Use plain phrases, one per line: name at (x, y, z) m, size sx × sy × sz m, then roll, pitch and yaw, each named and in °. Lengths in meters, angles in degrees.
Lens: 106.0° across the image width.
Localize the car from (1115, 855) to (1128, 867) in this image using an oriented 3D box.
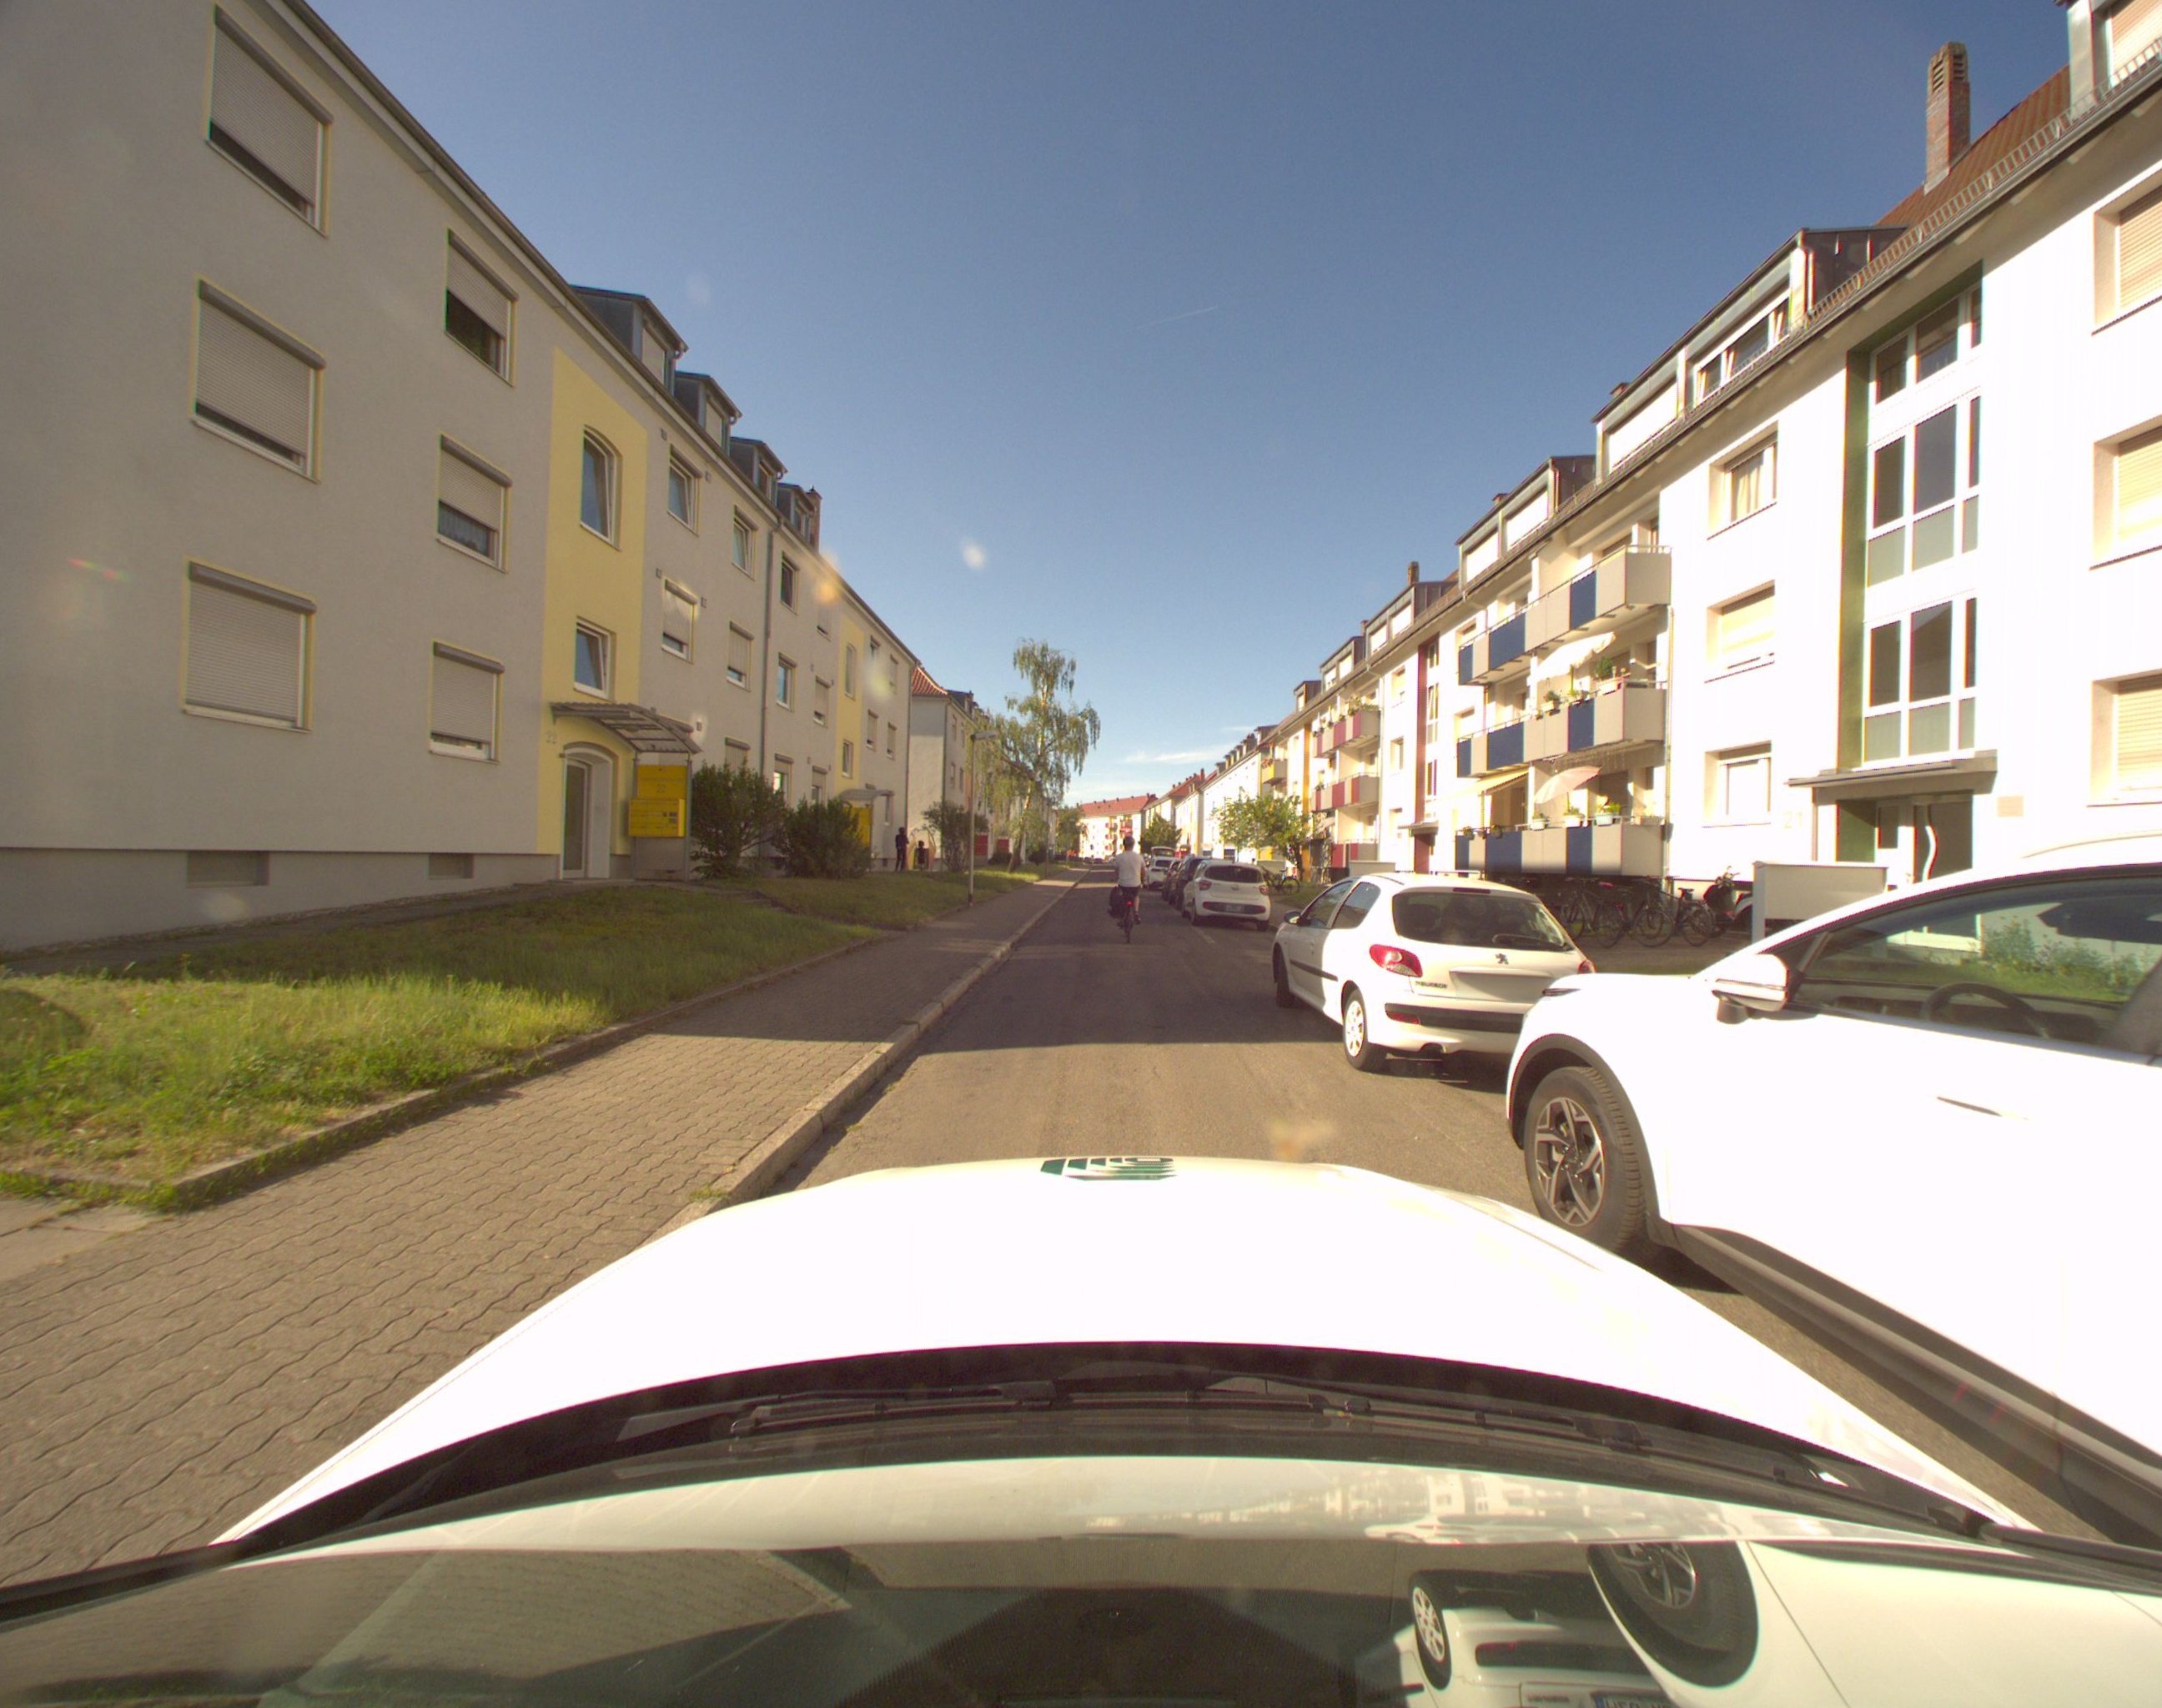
car at (6.341, 1.045, 127.479) m, size 1.669 × 1.739 × 3.942 m, roll 2°, pitch 0°, yaw 0°

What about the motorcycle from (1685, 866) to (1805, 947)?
motorcycle at (11.035, 0.826, 13.615) m, size 0.439 × 1.238 × 1.977 m, roll 0°, pitch 0°, yaw 2°

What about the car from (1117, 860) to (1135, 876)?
car at (5.107, 1.537, 93.001) m, size 1.855 × 1.668 × 4.128 m, roll 3°, pitch 0°, yaw 2°

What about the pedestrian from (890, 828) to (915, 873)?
pedestrian at (-7.292, -0.152, 33.285) m, size 0.802 × 1.824 × 0.718 m, roll 1°, pitch -1°, yaw 2°

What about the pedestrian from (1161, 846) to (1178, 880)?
pedestrian at (4.502, 0.456, 41.528) m, size 0.816 × 1.687 × 0.604 m, roll 0°, pitch 0°, yaw 1°

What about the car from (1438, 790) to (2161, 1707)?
car at (2.746, 0.728, 1.942) m, size 1.794 × 1.592 × 4.582 m, roll 3°, pitch 0°, yaw 1°

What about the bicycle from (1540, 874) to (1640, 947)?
bicycle at (8.610, 0.922, 13.861) m, size 0.542 × 1.120 × 1.873 m, roll 0°, pitch 0°, yaw 1°

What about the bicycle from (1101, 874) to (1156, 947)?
bicycle at (0.788, 0.940, 14.205) m, size 0.806 × 1.128 × 2.101 m, roll 0°, pitch 0°, yaw -1°

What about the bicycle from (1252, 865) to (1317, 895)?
bicycle at (7.915, 0.992, 31.766) m, size 2.411 × 1.130 × 0.881 m, roll 0°, pitch 0°, yaw 7°

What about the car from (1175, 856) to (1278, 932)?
car at (3.343, 0.869, 19.383) m, size 1.707 × 1.509 × 3.854 m, roll 4°, pitch 0°, yaw 1°

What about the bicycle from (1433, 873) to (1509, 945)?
bicycle at (6.977, 0.945, 14.666) m, size 0.542 × 1.170 × 1.874 m, roll -1°, pitch 0°, yaw 3°

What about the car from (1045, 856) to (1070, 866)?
car at (-4.058, 1.181, 141.638) m, size 4.221 × 1.638 × 1.581 m, roll 1°, pitch 0°, yaw -3°

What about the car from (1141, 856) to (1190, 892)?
car at (3.823, 0.881, 37.519) m, size 1.766 × 1.505 × 4.479 m, roll 2°, pitch 0°, yaw 0°

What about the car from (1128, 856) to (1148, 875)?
car at (4.774, 0.977, 68.510) m, size 1.635 × 1.498 × 4.159 m, roll 1°, pitch 0°, yaw 3°

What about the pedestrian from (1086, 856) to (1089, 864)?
pedestrian at (1.240, 1.079, 156.389) m, size 0.432 × 1.574 × 0.543 m, roll 0°, pitch -1°, yaw 1°

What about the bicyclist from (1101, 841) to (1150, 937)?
bicyclist at (0.780, 0.604, 14.445) m, size 0.806 × 1.643 × 0.898 m, roll 0°, pitch 0°, yaw -1°

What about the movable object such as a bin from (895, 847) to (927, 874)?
movable object such as a bin at (-9.066, 0.345, 43.510) m, size 1.383 × 1.336 × 1.228 m, roll 3°, pitch 0°, yaw 1°

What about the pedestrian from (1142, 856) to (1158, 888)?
pedestrian at (3.491, 0.898, 41.286) m, size 0.737 × 1.575 × 0.880 m, roll 1°, pitch 0°, yaw 1°

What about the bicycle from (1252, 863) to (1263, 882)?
bicycle at (10.573, 1.096, 48.839) m, size 0.401 × 1.087 × 1.300 m, roll 0°, pitch 0°, yaw 2°

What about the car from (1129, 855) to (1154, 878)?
car at (4.690, 0.911, 63.412) m, size 1.776 × 1.648 × 4.471 m, roll 3°, pitch 0°, yaw 3°

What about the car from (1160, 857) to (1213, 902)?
car at (3.784, 0.885, 29.736) m, size 1.639 × 1.449 × 4.065 m, roll 3°, pitch 0°, yaw 4°

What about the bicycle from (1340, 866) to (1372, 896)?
bicycle at (10.551, 1.017, 31.286) m, size 0.518 × 1.049 × 2.289 m, roll -1°, pitch 0°, yaw 2°

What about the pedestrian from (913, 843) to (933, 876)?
pedestrian at (-6.593, 0.230, 33.908) m, size 0.683 × 1.317 × 0.576 m, roll 1°, pitch -1°, yaw 2°

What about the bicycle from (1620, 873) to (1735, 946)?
bicycle at (10.047, 0.897, 13.808) m, size 0.594 × 1.116 × 1.873 m, roll -1°, pitch 0°, yaw 1°

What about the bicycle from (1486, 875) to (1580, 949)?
bicycle at (7.663, 0.946, 13.908) m, size 0.575 × 1.132 × 1.873 m, roll -1°, pitch 0°, yaw 1°

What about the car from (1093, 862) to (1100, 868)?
car at (3.131, 2.198, 164.616) m, size 1.465 × 1.335 × 3.140 m, roll 0°, pitch 0°, yaw 0°

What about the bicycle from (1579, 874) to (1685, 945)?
bicycle at (9.324, 0.903, 13.878) m, size 0.536 × 1.082 × 1.873 m, roll -2°, pitch 0°, yaw 1°

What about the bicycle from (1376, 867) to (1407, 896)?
bicycle at (11.857, 1.022, 31.135) m, size 0.518 × 1.037 × 1.976 m, roll 0°, pitch 0°, yaw 2°

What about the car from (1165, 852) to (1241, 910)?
car at (3.569, 0.754, 24.497) m, size 1.717 × 1.578 × 4.353 m, roll 0°, pitch 0°, yaw 1°

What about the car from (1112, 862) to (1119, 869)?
car at (7.447, 2.494, 176.596) m, size 1.377 × 1.497 × 3.076 m, roll 2°, pitch 0°, yaw 0°

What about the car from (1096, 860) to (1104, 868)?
car at (3.679, 1.958, 160.050) m, size 1.465 × 1.335 × 3.140 m, roll 2°, pitch 0°, yaw 0°

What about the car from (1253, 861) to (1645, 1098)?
car at (2.835, 0.835, 7.357) m, size 1.685 × 1.418 × 4.098 m, roll 3°, pitch 0°, yaw 1°

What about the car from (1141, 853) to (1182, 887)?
car at (4.252, 0.797, 43.655) m, size 1.985 × 1.613 × 5.000 m, roll 3°, pitch 0°, yaw 4°
